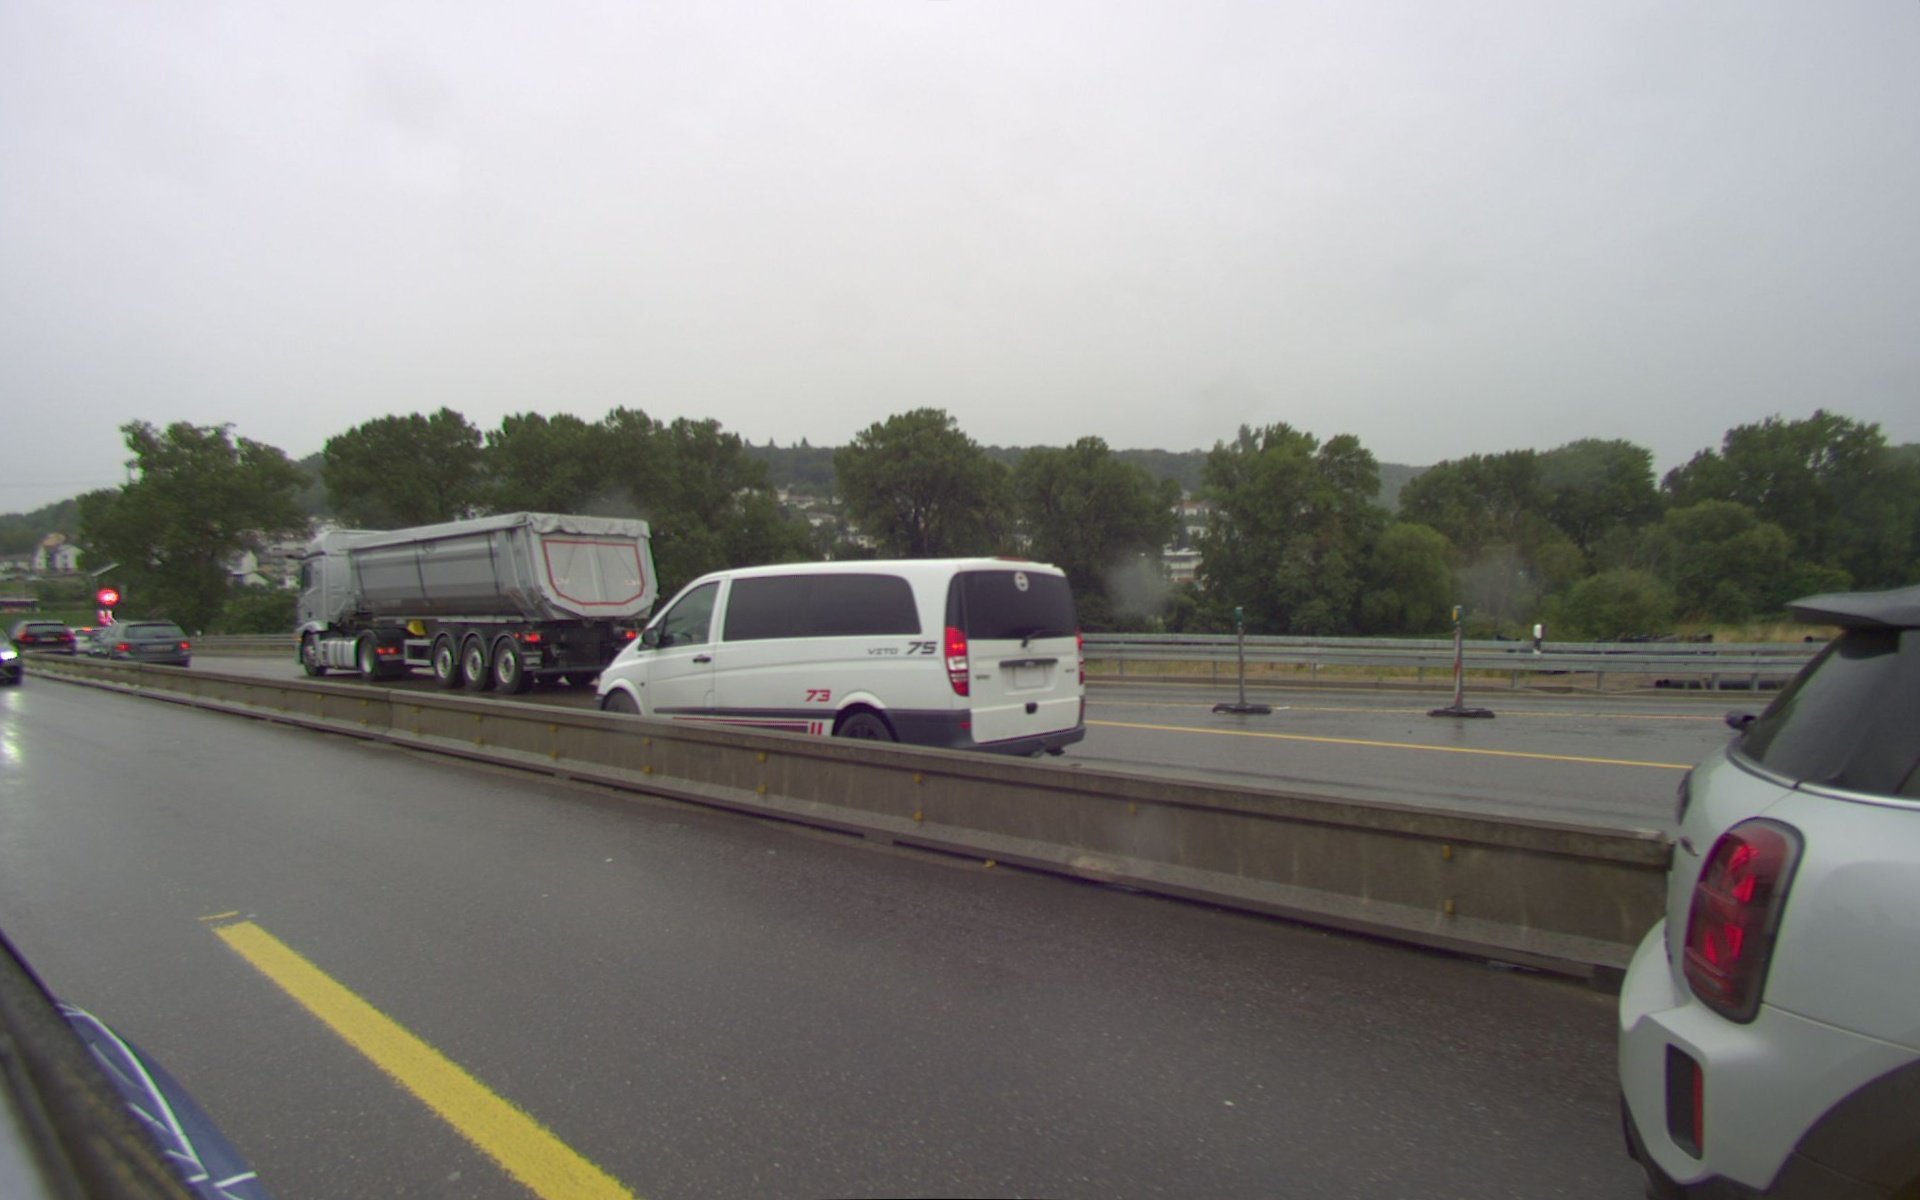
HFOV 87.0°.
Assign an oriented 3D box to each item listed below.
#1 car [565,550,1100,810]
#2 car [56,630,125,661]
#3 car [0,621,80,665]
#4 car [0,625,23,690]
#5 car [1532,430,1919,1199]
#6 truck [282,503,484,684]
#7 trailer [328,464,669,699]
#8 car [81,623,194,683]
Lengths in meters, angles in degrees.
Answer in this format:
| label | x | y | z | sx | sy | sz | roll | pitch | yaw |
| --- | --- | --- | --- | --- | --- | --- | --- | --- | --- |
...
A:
| label | x | y | z | sx | sy | sz | roll | pitch | yaw |
| --- | --- | --- | --- | --- | --- | --- | --- | --- | --- |
| car | -1.471 | 0.612 | 9.498 | 5.355 | 1.806 | 1.855 | -1 | -1 | 40 |
| car | -45.707 | 2.415 | 53.162 | 4.263 | 1.589 | 1.829 | -3 | -4 | 37 |
| car | -36.819 | 1.682 | 40.350 | 4.467 | 1.668 | 1.973 | -2 | -2 | 41 |
| car | -23.807 | 1.362 | 23.962 | 4.481 | 1.449 | 1.926 | -2 | -1 | 41 |
| car | 3.221 | 0.505 | 1.019 | 4.306 | 1.612 | 1.797 | -2 | -1 | 41 |
| truck | -14.272 | -0.065 | 24.920 | 5.270 | 3.957 | 2.658 | -2 | -2 | 40 |
| trailer | -10.109 | -0.189 | 21.386 | 9.812 | 3.994 | 2.658 | -2 | -2 | 40 |
| car | -22.332 | 1.392 | 27.424 | 3.997 | 1.464 | 1.692 | -2 | -1 | 40 |
